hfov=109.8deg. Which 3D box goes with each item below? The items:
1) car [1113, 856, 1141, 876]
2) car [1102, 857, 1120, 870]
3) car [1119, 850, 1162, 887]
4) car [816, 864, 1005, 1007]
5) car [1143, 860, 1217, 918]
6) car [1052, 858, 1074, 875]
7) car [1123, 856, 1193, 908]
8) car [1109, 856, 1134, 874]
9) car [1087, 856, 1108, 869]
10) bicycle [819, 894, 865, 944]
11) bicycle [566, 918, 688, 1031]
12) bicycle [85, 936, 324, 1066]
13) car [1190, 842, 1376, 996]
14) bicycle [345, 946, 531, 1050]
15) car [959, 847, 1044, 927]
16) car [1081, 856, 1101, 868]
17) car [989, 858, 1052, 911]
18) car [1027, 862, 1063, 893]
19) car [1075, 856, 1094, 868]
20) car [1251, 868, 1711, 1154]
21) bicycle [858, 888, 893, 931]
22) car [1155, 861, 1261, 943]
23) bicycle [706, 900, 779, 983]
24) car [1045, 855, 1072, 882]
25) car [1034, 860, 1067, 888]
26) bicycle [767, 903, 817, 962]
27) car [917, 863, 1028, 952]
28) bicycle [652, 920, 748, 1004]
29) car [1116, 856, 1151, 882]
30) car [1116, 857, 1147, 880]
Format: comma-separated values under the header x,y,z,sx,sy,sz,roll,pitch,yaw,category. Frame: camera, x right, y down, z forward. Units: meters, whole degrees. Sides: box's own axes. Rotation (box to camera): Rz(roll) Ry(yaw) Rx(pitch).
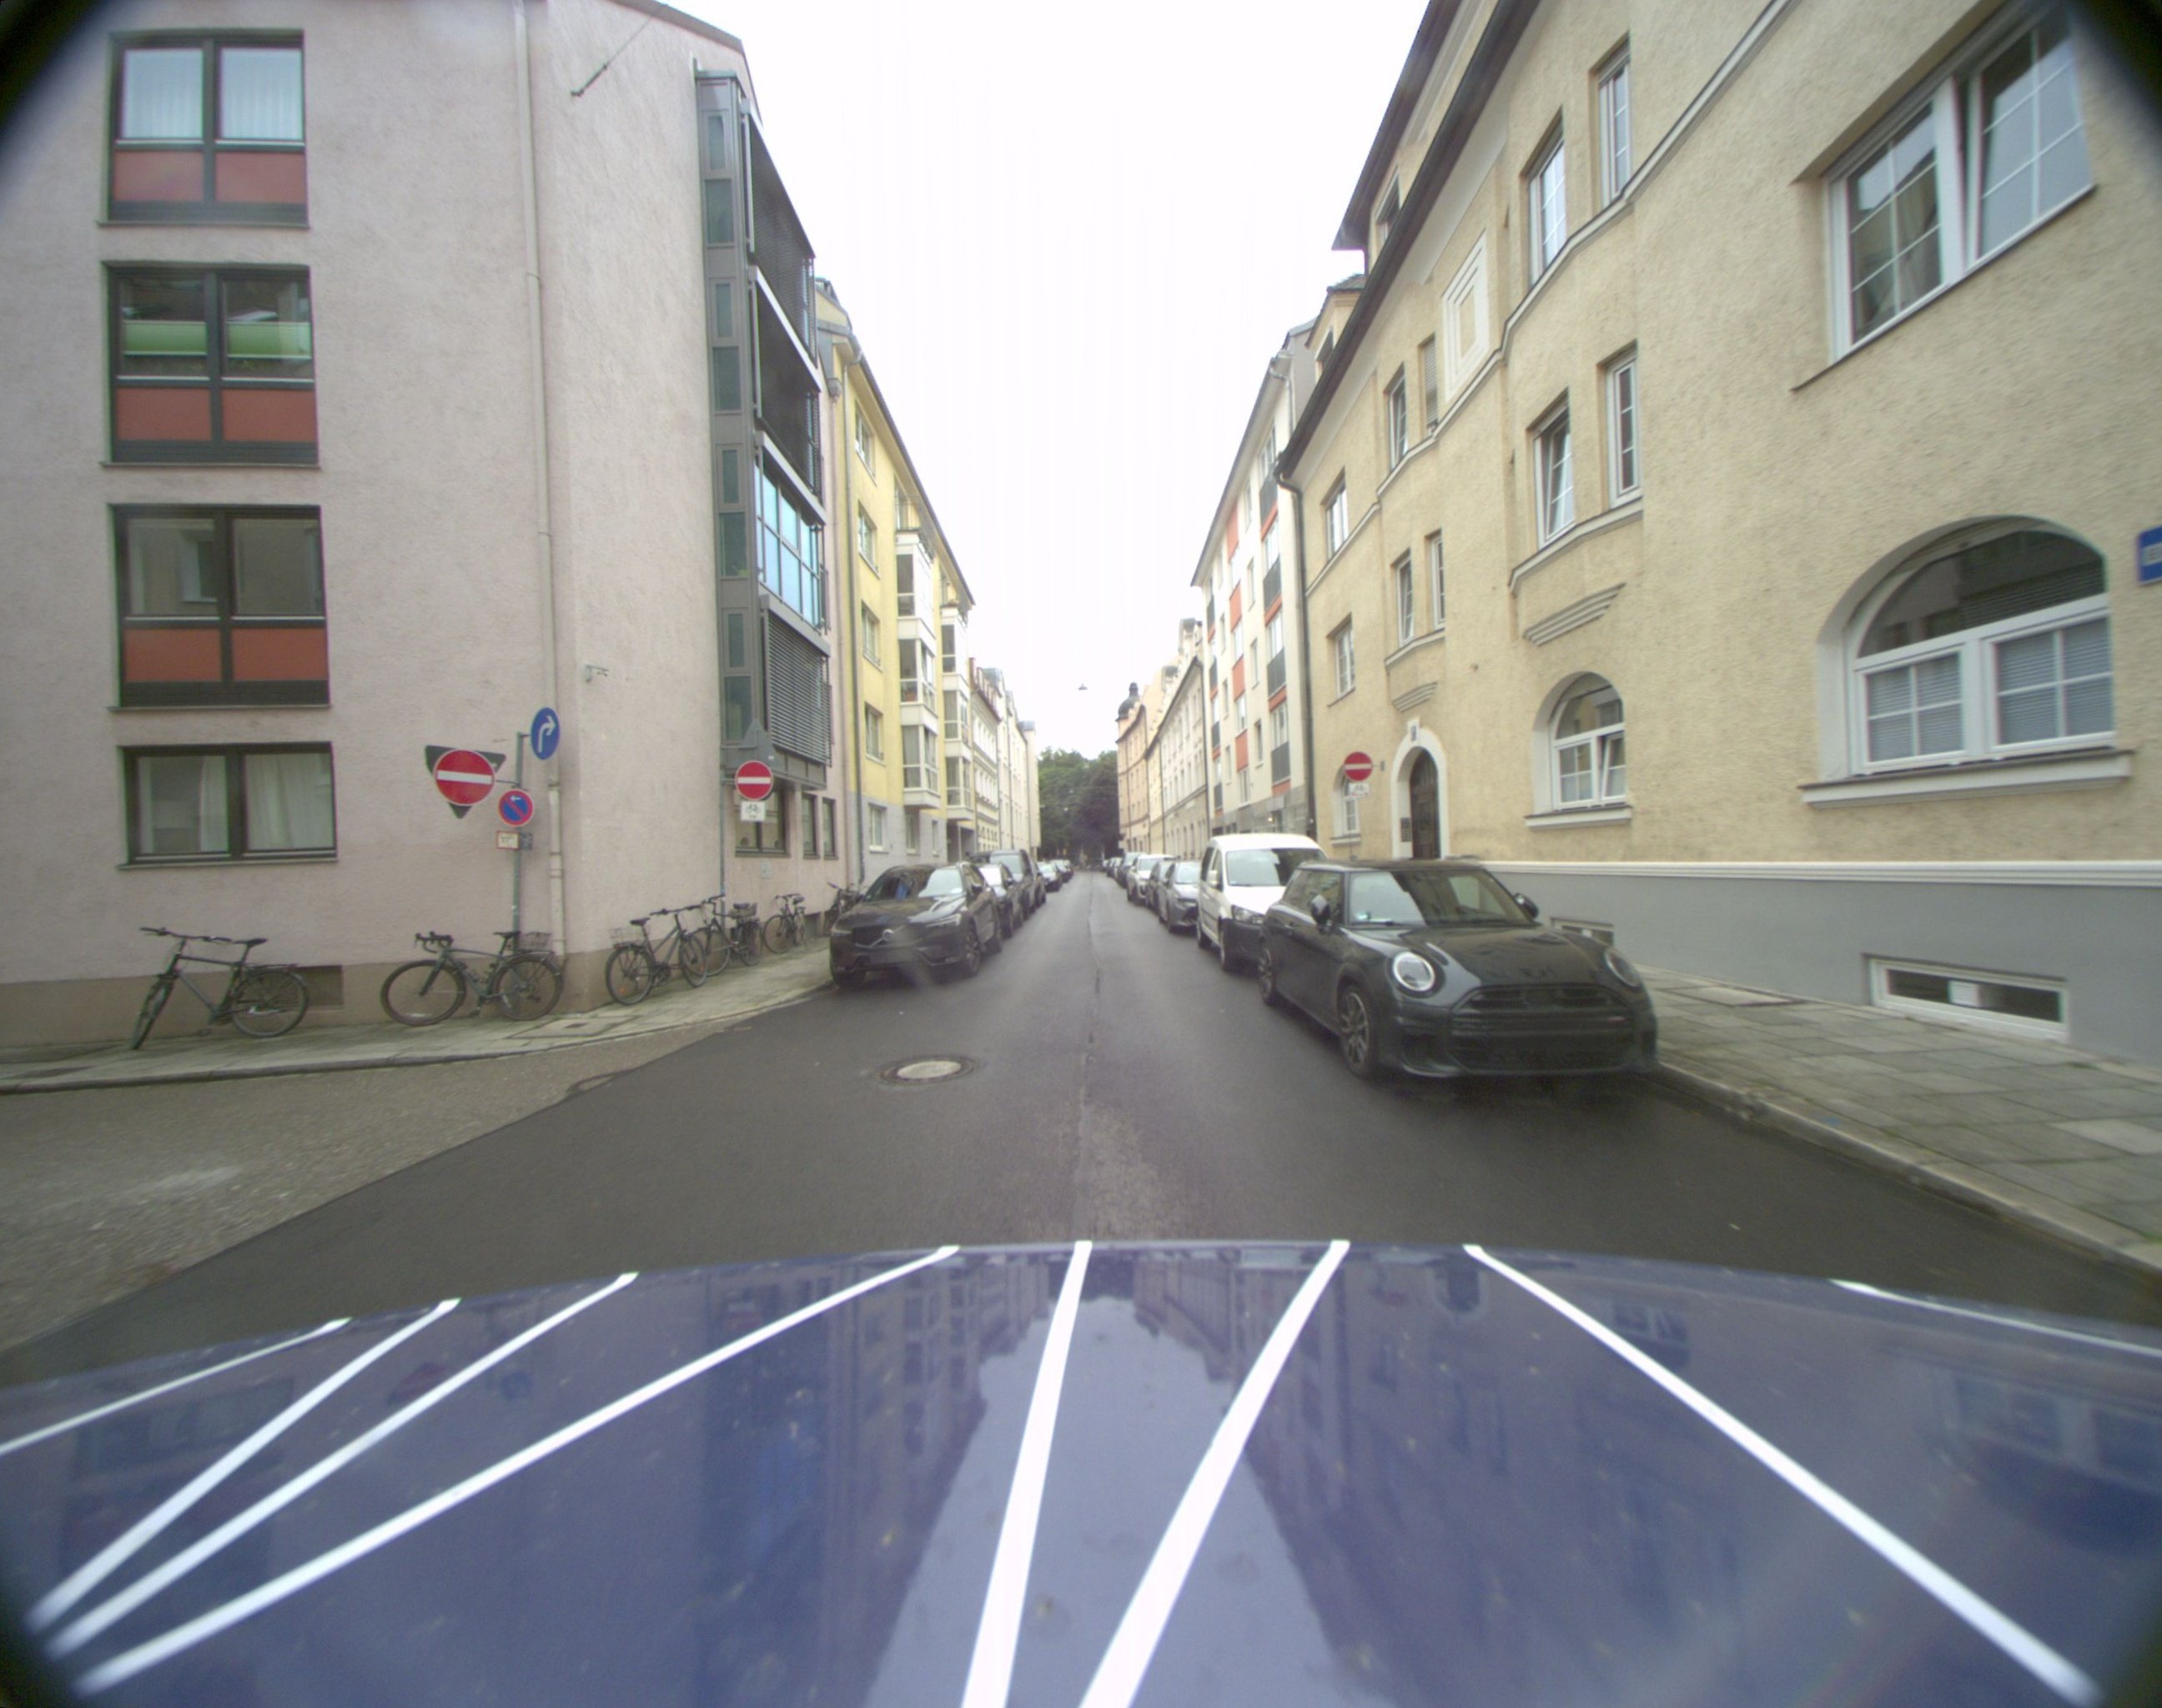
x,y,z,sx,sy,sz,roll,pitch,yaw,category
3.463,0.874,57.772,1.951,1.470,3.716,0,0,1,car
3.310,1.048,84.688,1.951,1.470,3.980,0,0,1,car
3.114,0.753,40.764,1.951,1.850,4.908,0,0,1,car
-2.378,1.063,11.833,1.837,1.612,4.411,-4,0,0,car
2.716,0.930,21.605,1.632,1.466,3.842,-1,0,0,car
-1.505,1.083,65.437,1.739,1.297,3.686,-4,0,0,car
2.536,0.890,25.978,1.786,1.595,4.307,-1,0,-3,car
3.345,0.890,63.478,1.951,1.470,3.980,0,0,1,car
2.034,1.057,94.289,1.800,1.501,3.996,-1,0,-10,car
-5.246,1.410,16.747,0.442,0.942,1.576,-3,0,1,bicycle
-5.325,1.378,9.001,0.552,1.119,1.357,-3,0,1,bicycle
-9.182,1.526,8.007,1.736,1.172,0.552,-3,0,-4,bicycle
2.656,0.733,10.976,1.728,1.778,4.249,-1,1,2,car
-6.902,1.535,8.199,1.452,0.942,0.552,-3,0,-4,bicycle
-2.242,0.864,22.836,1.878,2.002,5.106,-4,1,0,car
1.276,1.045,98.487,1.800,1.501,3.996,-1,0,-10,car
-2.150,1.050,28.048,1.837,1.676,4.228,-4,0,1,car
-1.949,1.221,40.688,1.749,1.433,4.227,-4,0,-4,car
0.449,1.075,102.591,1.800,1.501,3.996,-1,0,-10,car
2.563,0.881,5.951,1.656,1.403,3.734,-1,1,0,car
-5.118,1.363,18.998,0.422,0.970,1.446,-3,0,1,bicycle
2.572,0.918,16.267,1.676,1.467,4.112,-1,0,1,car
-5.256,1.323,11.877,0.358,1.115,1.543,-3,0,1,bicycle
-1.577,1.026,55.197,1.739,1.743,3.686,-4,0,0,car
-1.809,1.165,45.704,1.739,1.433,3.686,-4,0,0,car
-5.278,1.414,13.947,0.358,0.942,1.269,-3,0,1,bicycle
-2.330,1.099,17.466,1.837,1.612,4.323,-4,0,0,car
-5.169,1.445,10.392,0.552,0.942,1.357,-3,0,1,bicycle
3.158,0.891,46.331,1.951,1.470,3.716,0,0,1,car
3.453,0.994,52.811,1.951,1.470,3.716,0,0,1,car
